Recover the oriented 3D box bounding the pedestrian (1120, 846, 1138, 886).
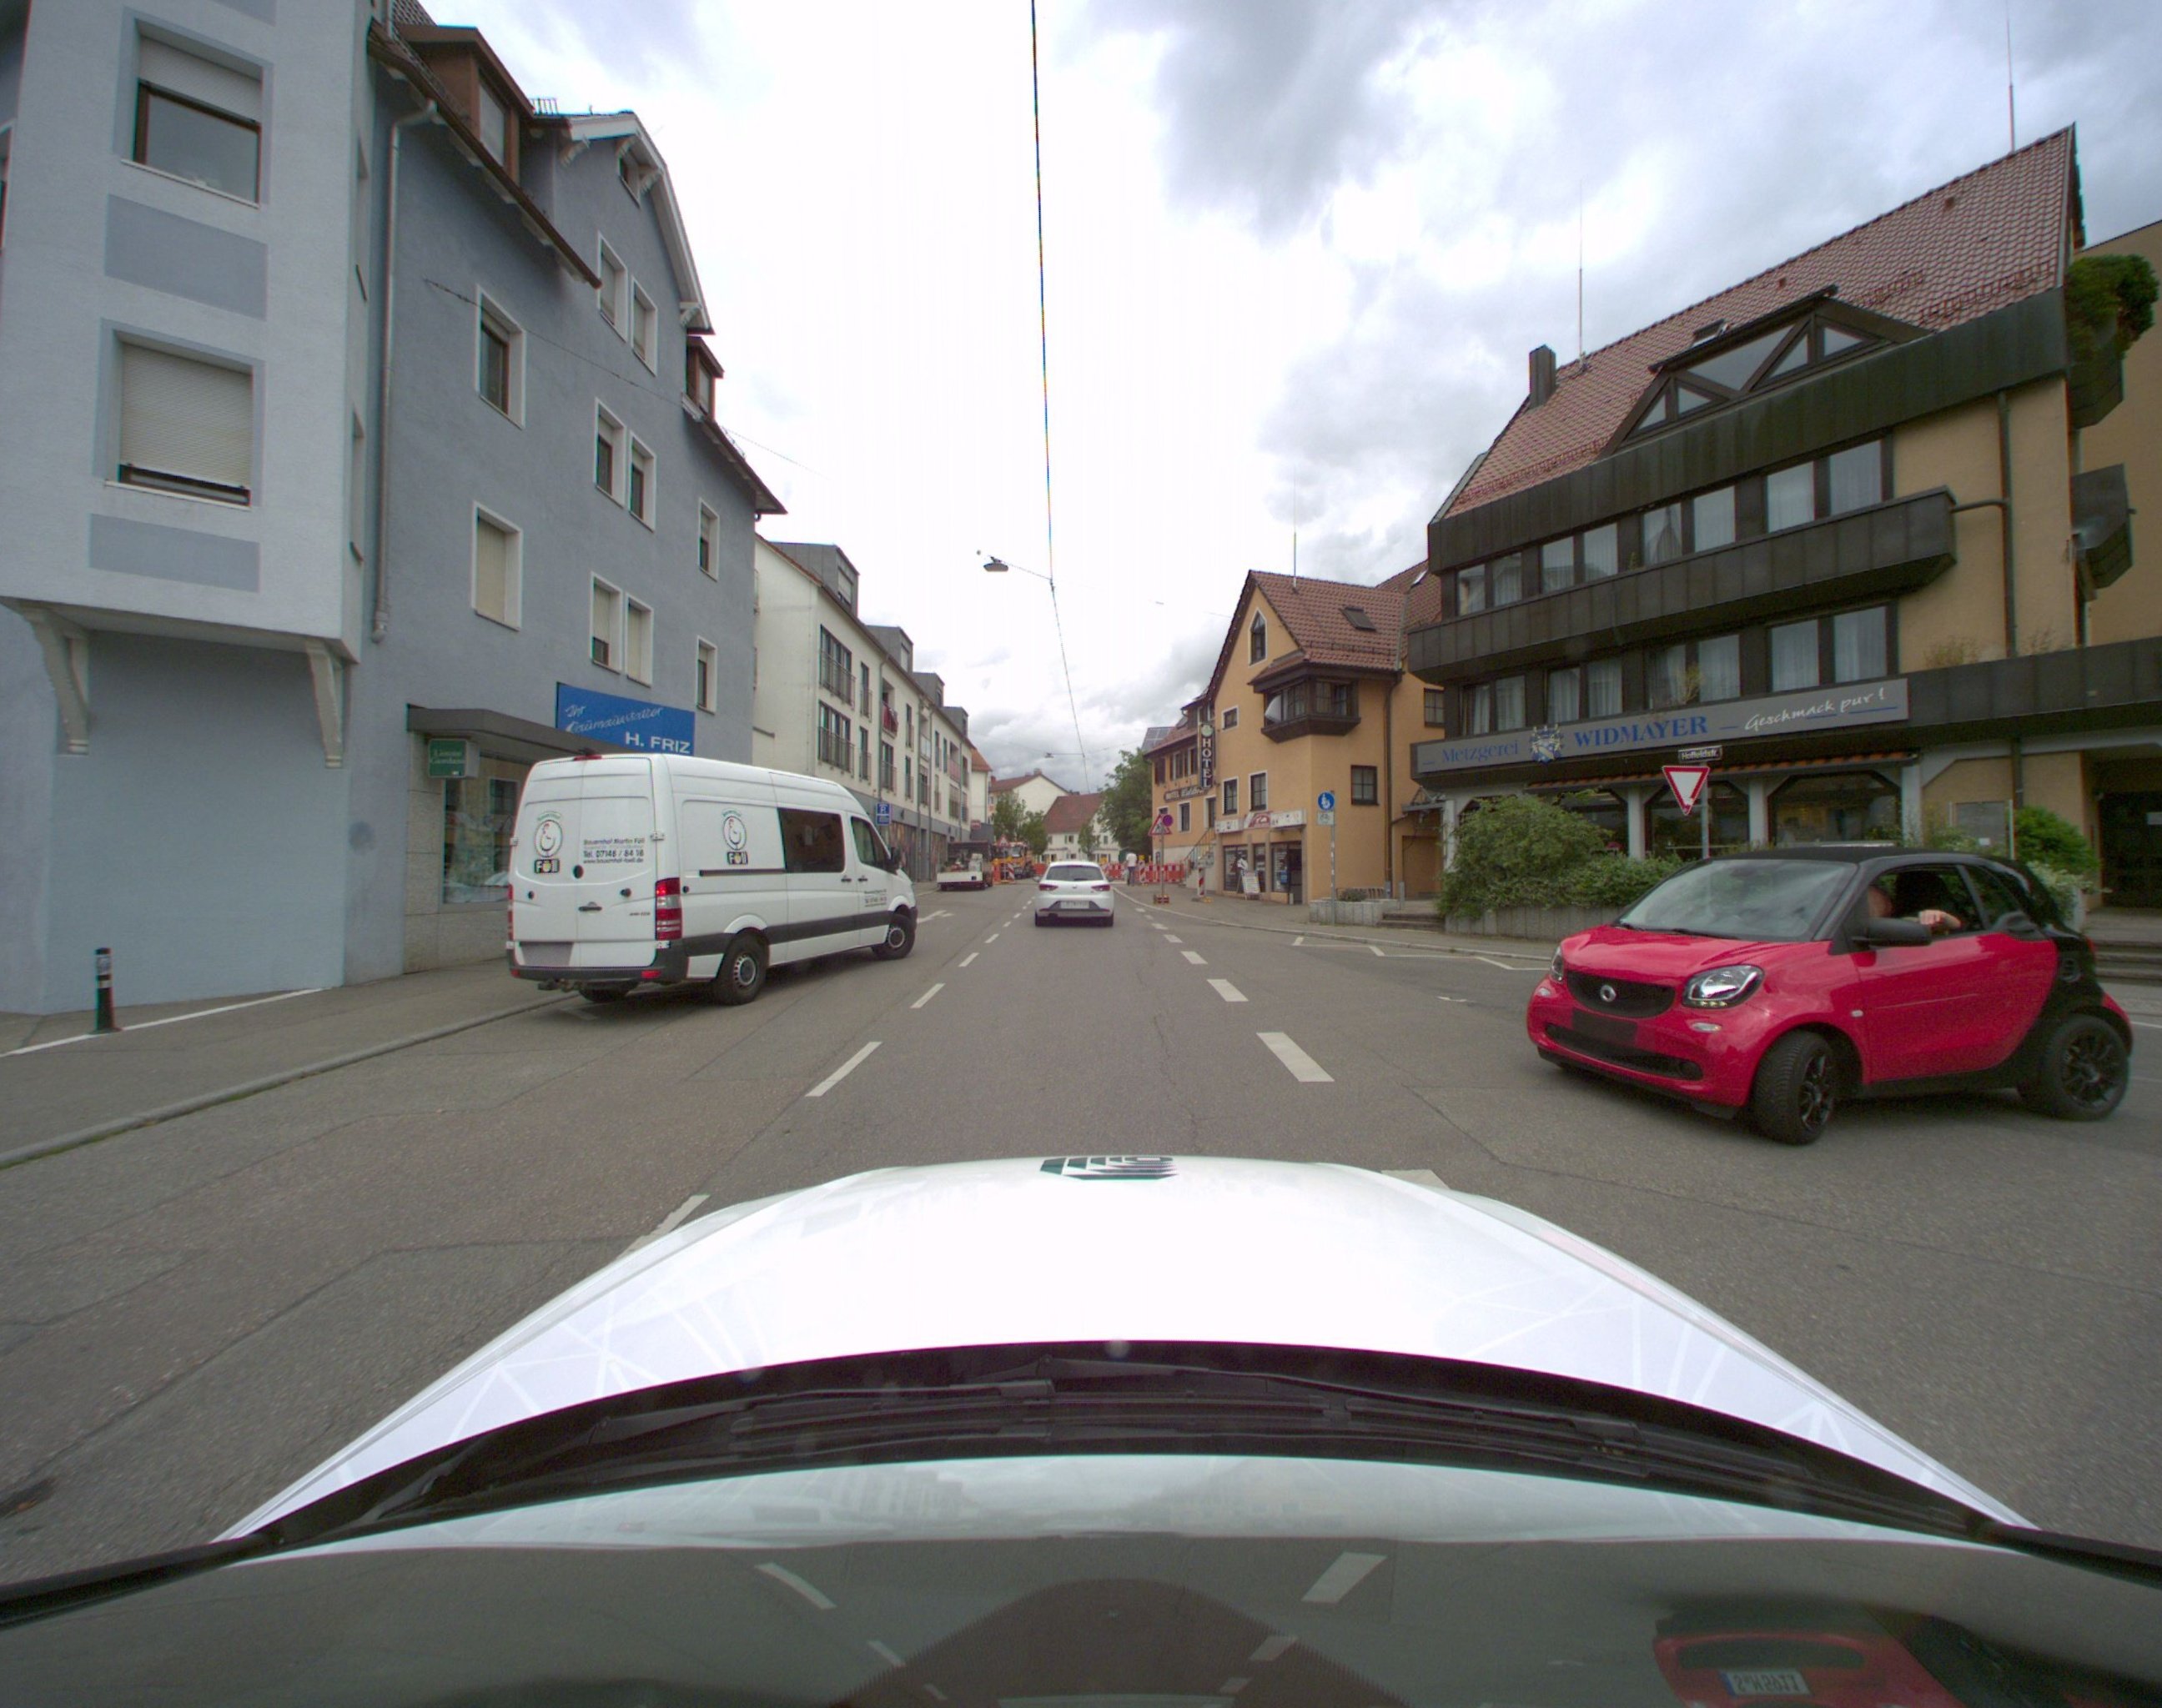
[{"bbox_3d":[2.403,0.595,41.001,0.796,1.950,0.835,-1,0,-3],"label":"pedestrian"}]

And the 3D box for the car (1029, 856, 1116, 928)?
[{"bbox_3d":[-0.188,0.810,19.069,1.806,1.481,3.869,-1,0,0],"label":"car"}]

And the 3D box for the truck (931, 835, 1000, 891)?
[{"bbox_3d":[-5.460,0.407,39.370,2.406,2.466,6.305,-1,0,-1],"label":"truck"}]

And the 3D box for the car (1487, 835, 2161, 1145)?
[{"bbox_3d":[4.525,0.680,5.230,2.929,1.520,1.815,-1,0,-9],"label":"car"}]

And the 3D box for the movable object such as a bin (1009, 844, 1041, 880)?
[{"bbox_3d":[-4.425,0.655,65.202,1.830,2.764,4.511,-1,-2,5],"label":"movable object such as a bin"}]

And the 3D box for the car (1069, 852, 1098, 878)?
[{"bbox_3d":[0.273,0.927,67.746,1.983,2.014,4.006,-1,-1,6],"label":"car"}]

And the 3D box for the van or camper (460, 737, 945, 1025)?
[{"bbox_3d":[-4.144,0.255,10.674,2.302,2.607,6.231,-1,0,14],"label":"van or camper"}]

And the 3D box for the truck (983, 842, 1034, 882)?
[{"bbox_3d":[-5.149,0.573,59.186,2.720,2.725,6.853,-1,0,3],"label":"truck"}]
